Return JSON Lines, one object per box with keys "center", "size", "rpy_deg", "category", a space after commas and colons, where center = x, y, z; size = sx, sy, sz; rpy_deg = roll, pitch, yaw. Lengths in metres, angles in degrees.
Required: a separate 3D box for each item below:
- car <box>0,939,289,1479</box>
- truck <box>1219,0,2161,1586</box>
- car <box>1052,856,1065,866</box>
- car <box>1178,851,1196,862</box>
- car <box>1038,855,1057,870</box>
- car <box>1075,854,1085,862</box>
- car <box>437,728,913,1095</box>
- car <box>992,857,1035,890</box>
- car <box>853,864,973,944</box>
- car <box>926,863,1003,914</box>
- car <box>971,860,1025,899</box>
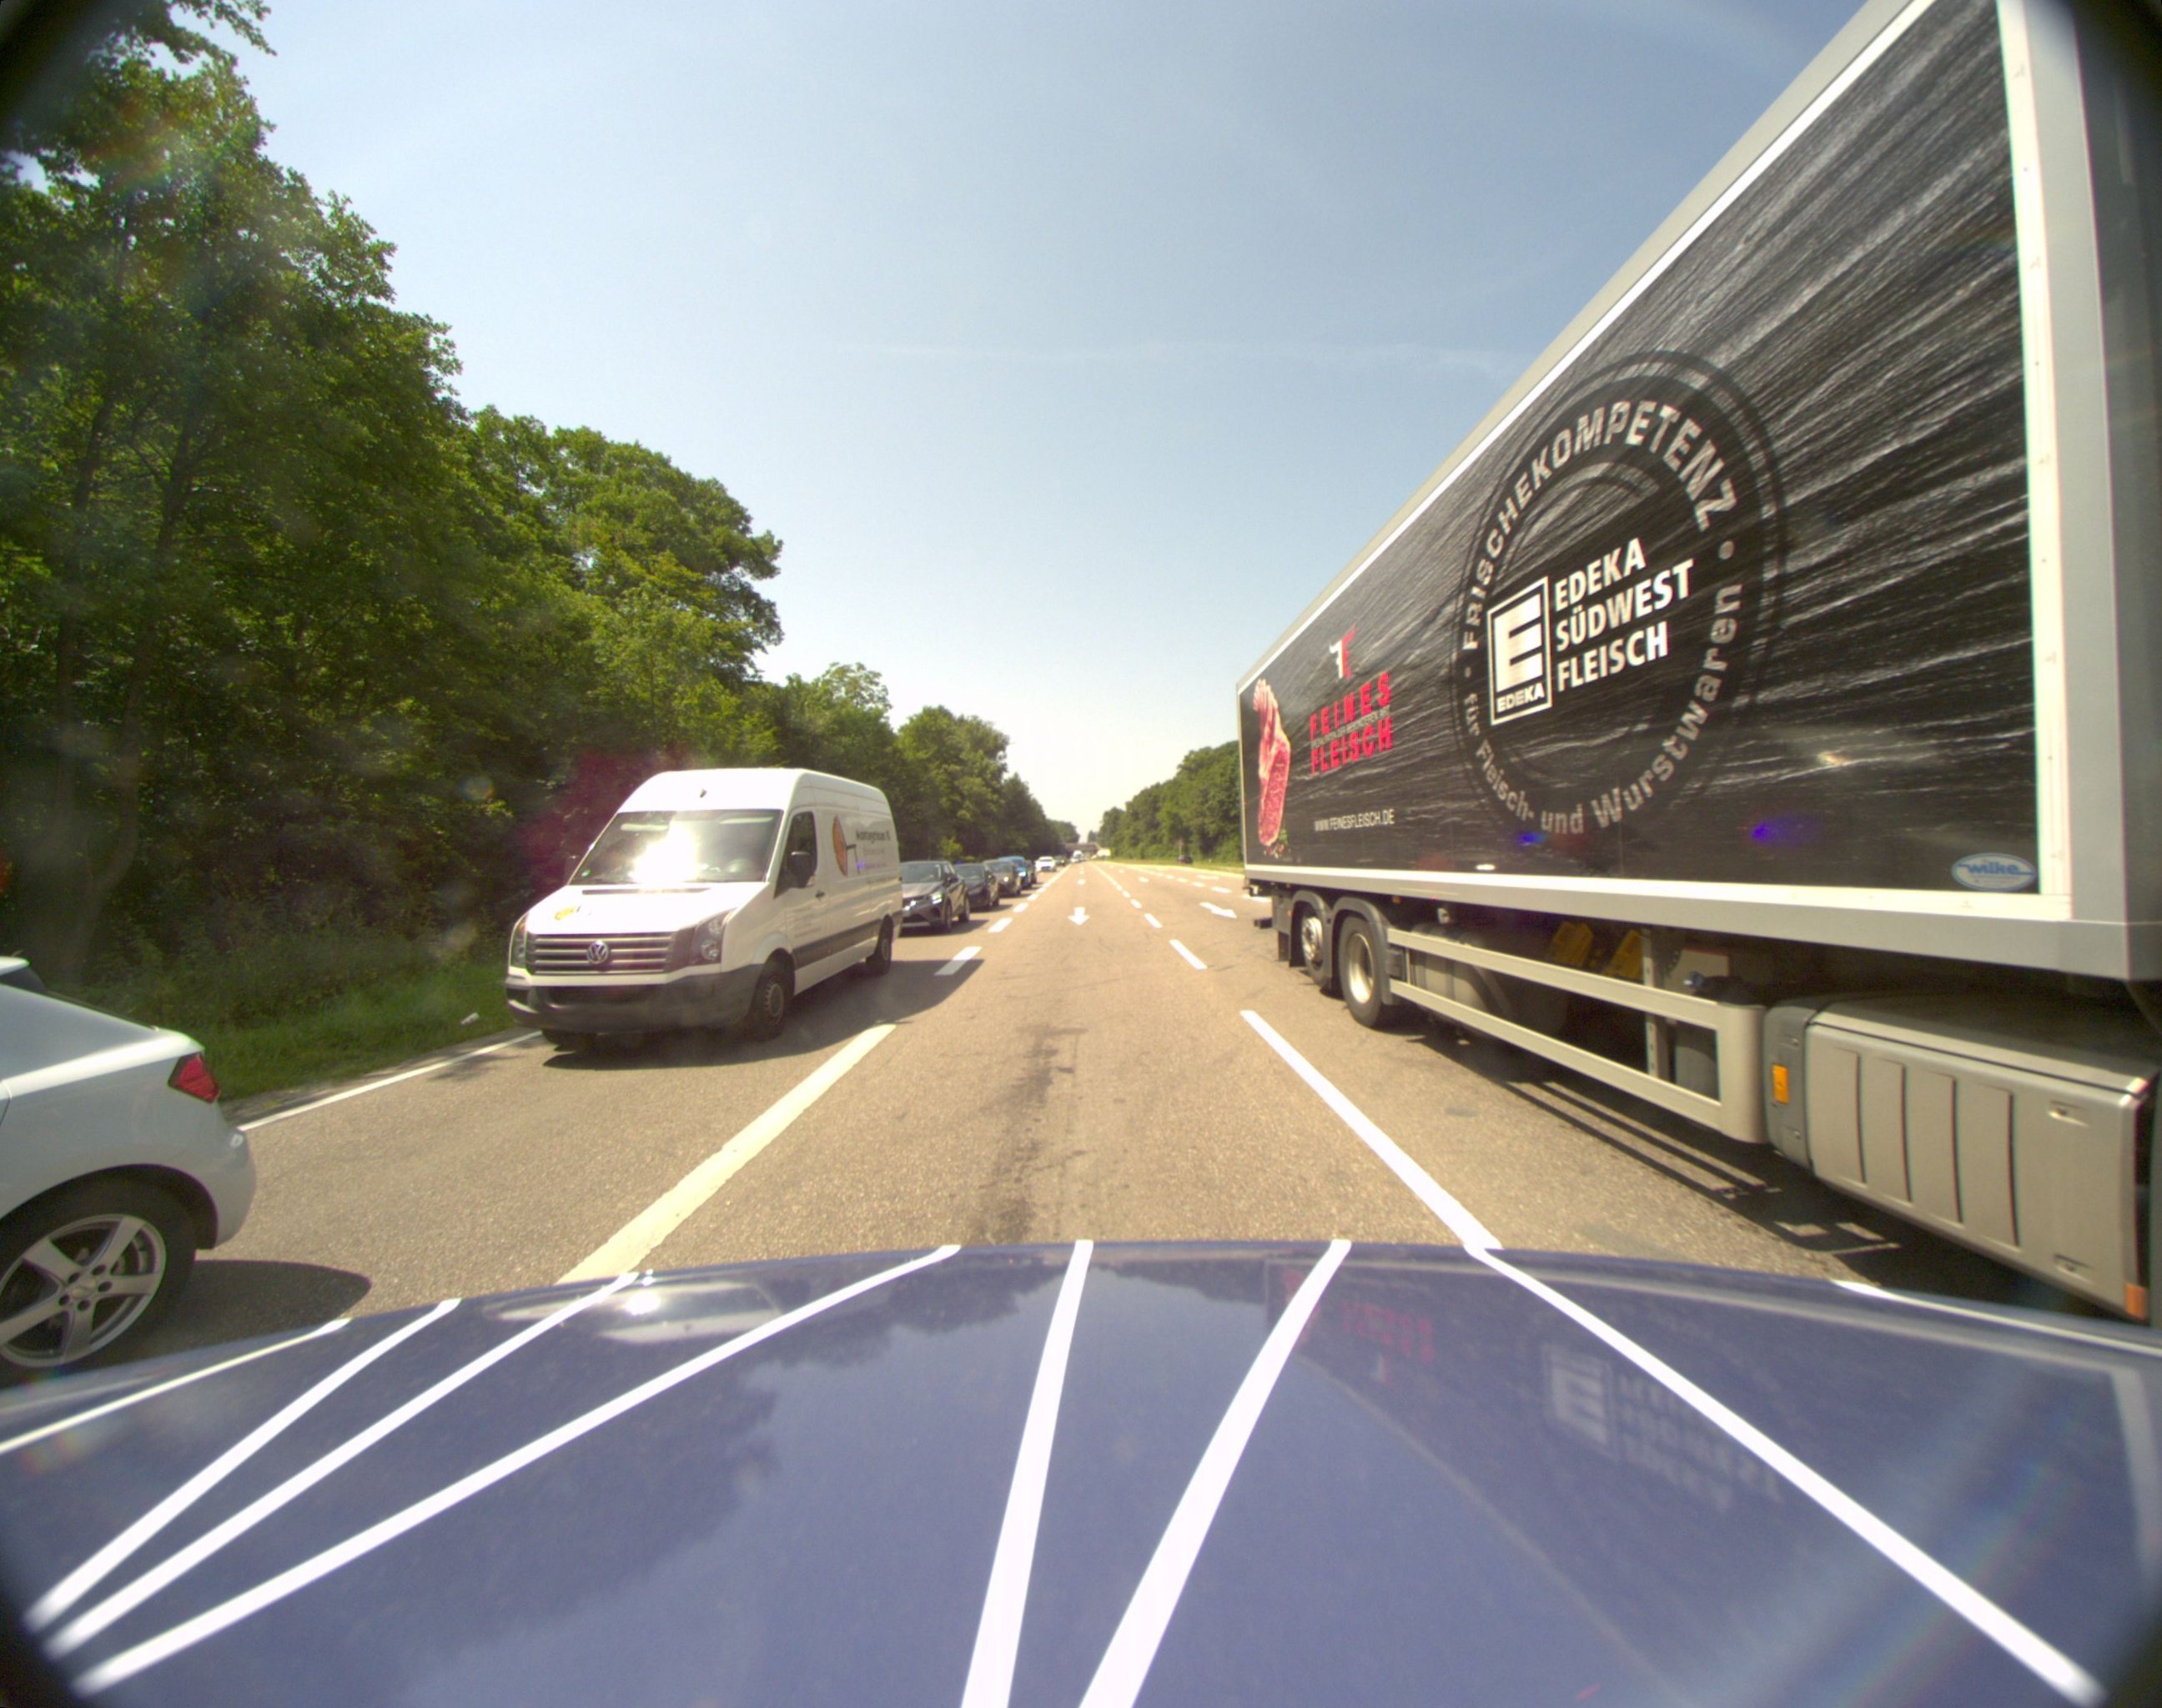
{"center": [-3.965, 1.083, 0.892], "size": [1.693, 1.427, 4.001], "rpy_deg": [-3, 0, 3], "category": "car"}
{"center": [3.493, -0.465, 5.029], "size": [2.753, 3.862, 11.318], "rpy_deg": [-2, 0, -1], "category": "truck"}
{"center": [-3.273, 1.001, 109.322], "size": [1.796, 1.431, 4.228], "rpy_deg": [-1, 0, -1], "category": "car"}
{"center": [15.292, 0.325, 110.138], "size": [1.999, 1.543, 3.999], "rpy_deg": [-2, 1, 0], "category": "car"}
{"center": [-3.341, 0.802, 76.439], "size": [1.796, 1.431, 4.228], "rpy_deg": [0, 0, -1], "category": "car"}
{"center": [-0.235, 0.725, 149.919], "size": [1.796, 1.431, 4.228], "rpy_deg": [-1, 0, -1], "category": "car"}
{"center": [-3.645, 0.429, 8.606], "size": [1.974, 2.629, 6.060], "rpy_deg": [-2, 0, 1], "category": "car"}
{"center": [-3.223, 0.902, 37.024], "size": [1.796, 1.431, 4.228], "rpy_deg": [-1, 0, -1], "category": "car"}
{"center": [-3.625, 1.014, 17.146], "size": [1.796, 1.452, 4.228], "rpy_deg": [-2, 0, -1], "category": "car"}
{"center": [-3.489, 1.004, 23.509], "size": [1.796, 1.348, 4.228], "rpy_deg": [-1, 0, -1], "category": "car"}
{"center": [-3.307, 0.983, 30.915], "size": [1.796, 1.431, 4.228], "rpy_deg": [-1, 0, -1], "category": "car"}
